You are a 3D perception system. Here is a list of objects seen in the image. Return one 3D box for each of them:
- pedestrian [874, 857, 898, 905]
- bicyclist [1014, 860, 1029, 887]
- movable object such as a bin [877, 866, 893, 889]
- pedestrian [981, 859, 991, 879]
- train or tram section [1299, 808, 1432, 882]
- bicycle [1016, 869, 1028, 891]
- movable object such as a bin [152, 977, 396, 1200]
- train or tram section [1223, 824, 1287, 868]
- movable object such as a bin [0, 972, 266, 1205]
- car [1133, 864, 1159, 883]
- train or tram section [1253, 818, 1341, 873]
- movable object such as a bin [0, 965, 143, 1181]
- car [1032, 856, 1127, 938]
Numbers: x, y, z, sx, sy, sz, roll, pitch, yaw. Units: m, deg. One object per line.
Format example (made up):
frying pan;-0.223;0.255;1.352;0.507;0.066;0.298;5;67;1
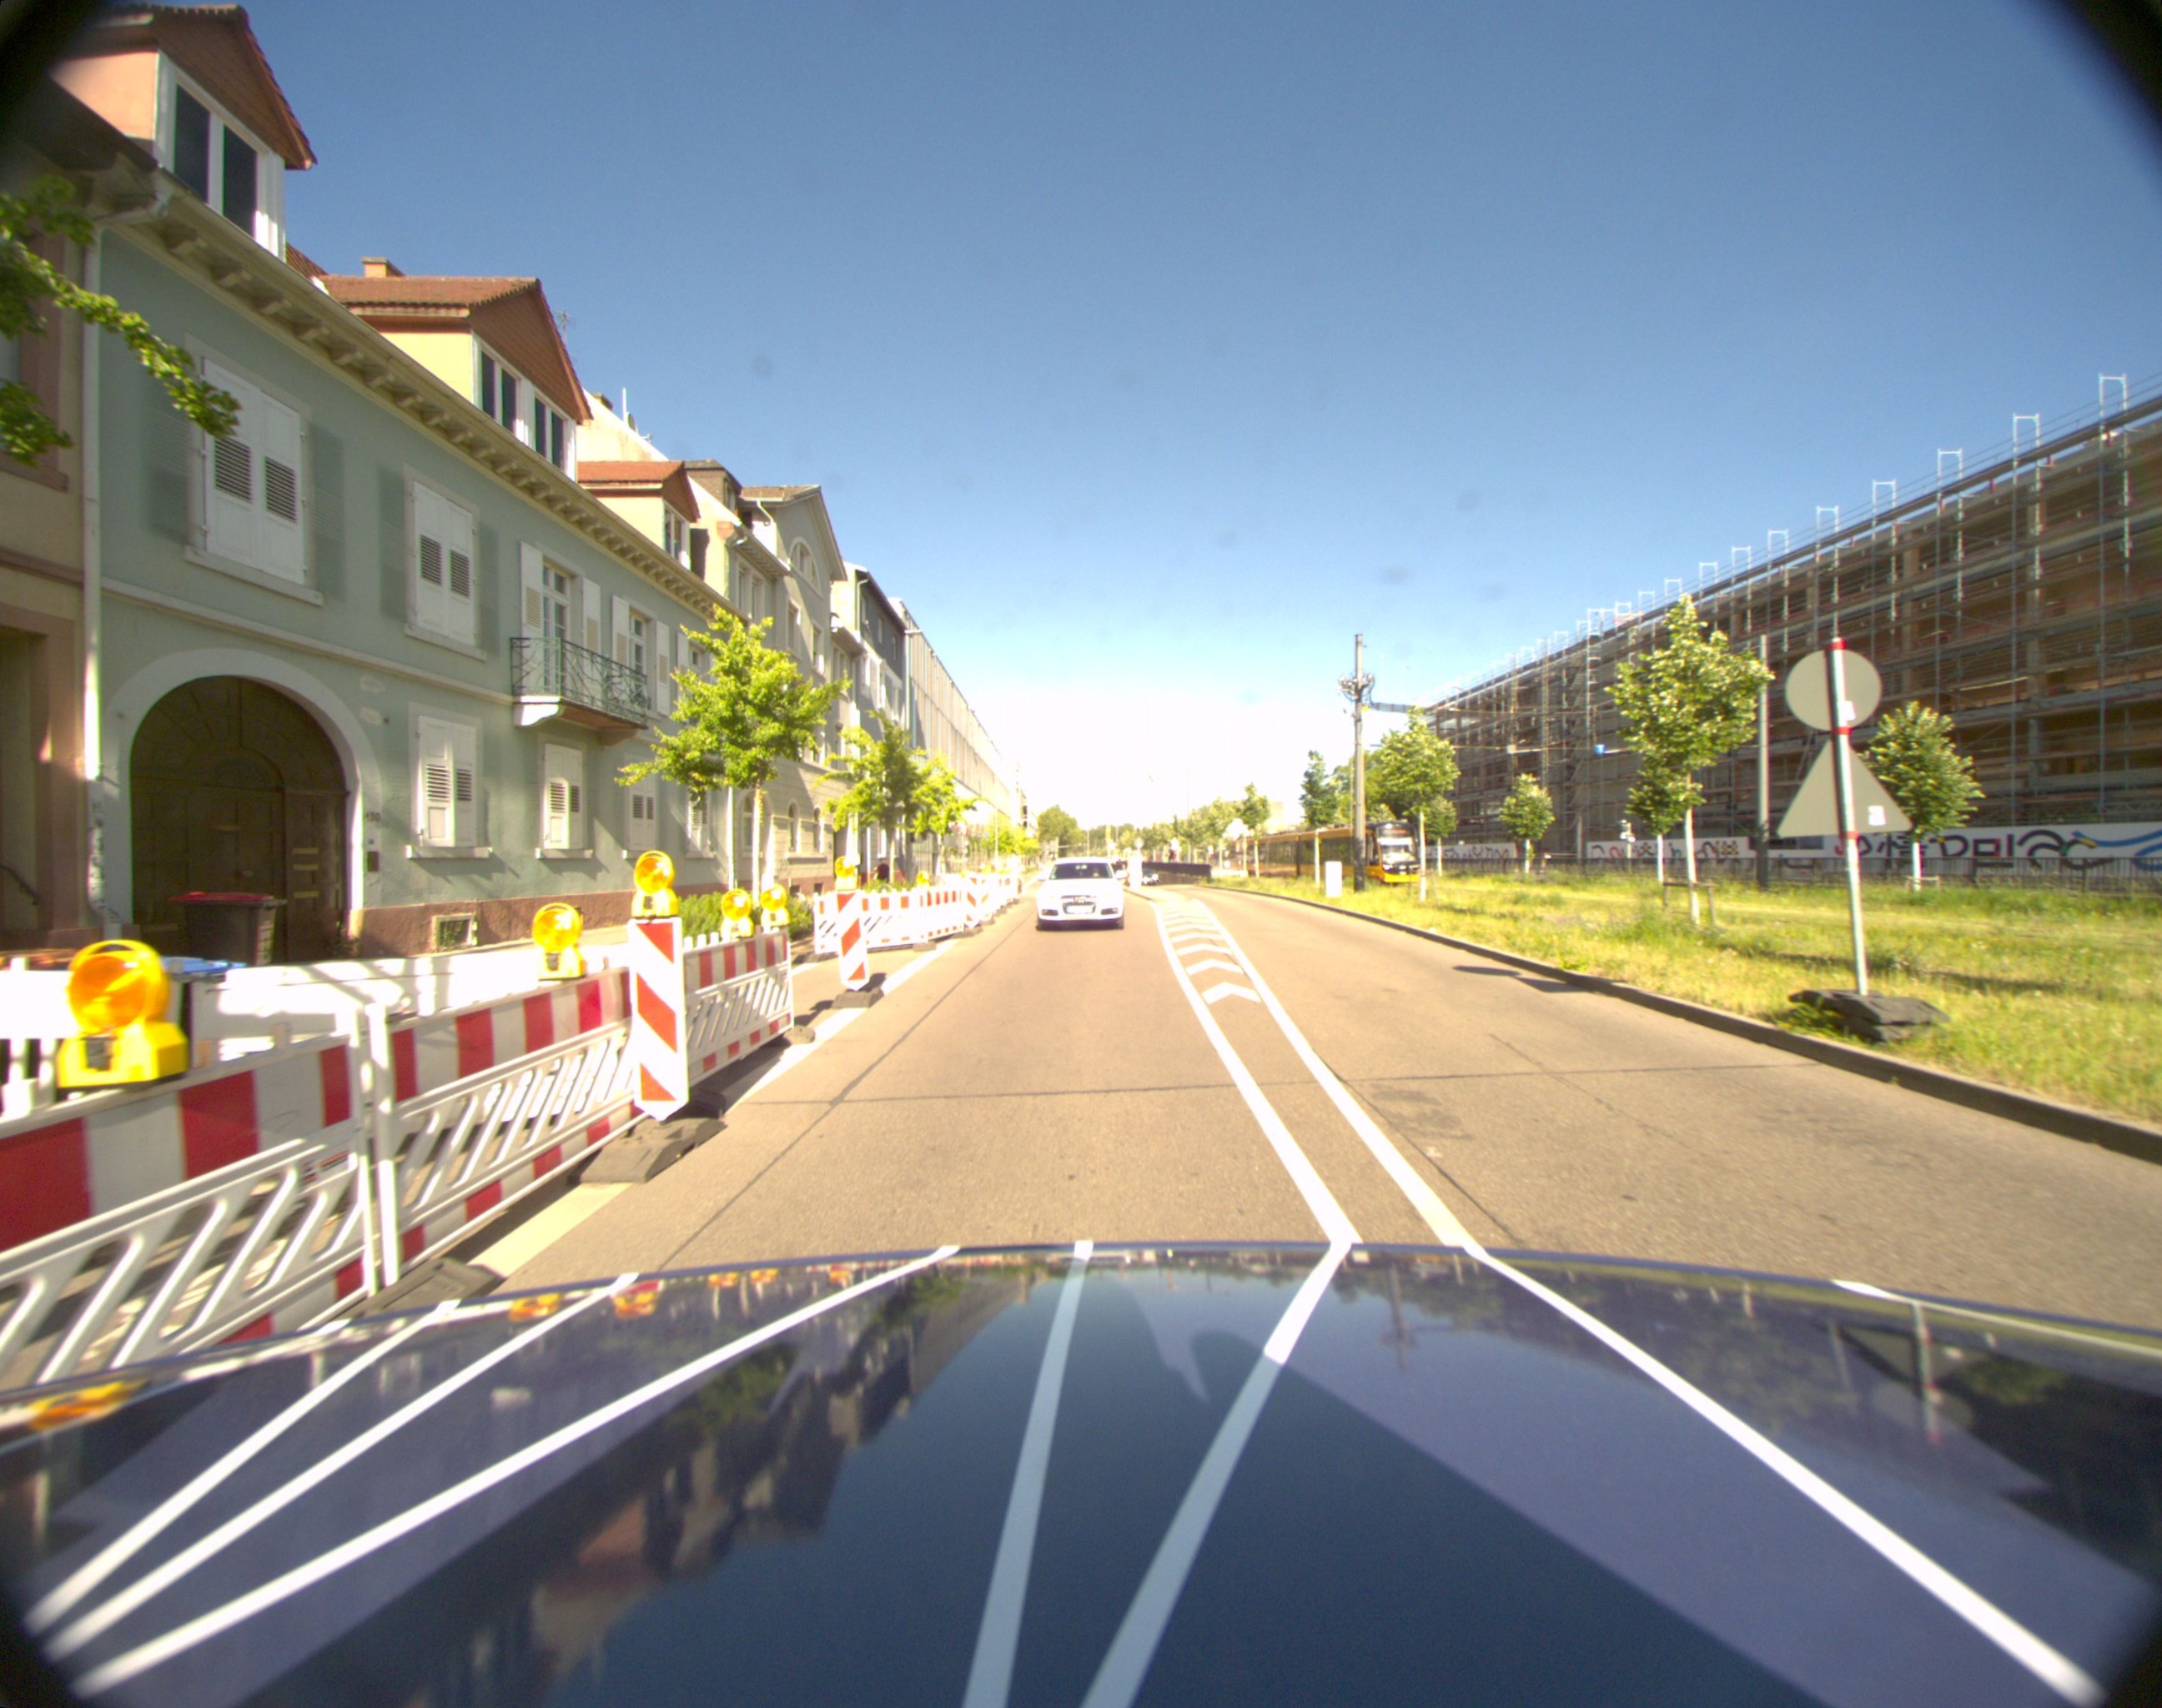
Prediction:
pedestrian;-7.911;1.089;30.826;0.796;1.917;0.769;-2;0;-22
bicyclist;-3.315;1.063;42.339;0.756;1.454;0.587;-2;1;-6
movable object such as a bin;-9.784;1.169;37.995;0.589;1.101;0.703;-2;0;0
pedestrian;-9.100;1.431;72.778;0.877;1.913;0.895;2;3;-1
train or tram section;15.914;-0.486;44.021;2.823;3.617;12.787;-1;0;-1
bicycle;-3.303;1.448;42.341;0.610;1.144;1.986;-2;1;-6
movable object such as a bin;-4.622;1.310;4.407;0.589;1.051;0.730;-2;0;0
train or tram section;15.694;-0.676;69.619;2.823;3.617;12.787;-1;0;-1
movable object such as a bin;-5.245;1.250;4.227;0.597;1.051;0.730;3;0;0
car;5.474;1.618;64.702;1.927;1.435;4.177;-1;0;1
train or tram section;15.780;-0.577;56.826;2.823;3.617;12.787;-1;0;-1
movable object such as a bin;-6.115;1.225;4.303;0.589;1.051;0.783;3;0;-5
car;0.056;0.909;17.978;1.934;1.624;4.000;-2;0;3
